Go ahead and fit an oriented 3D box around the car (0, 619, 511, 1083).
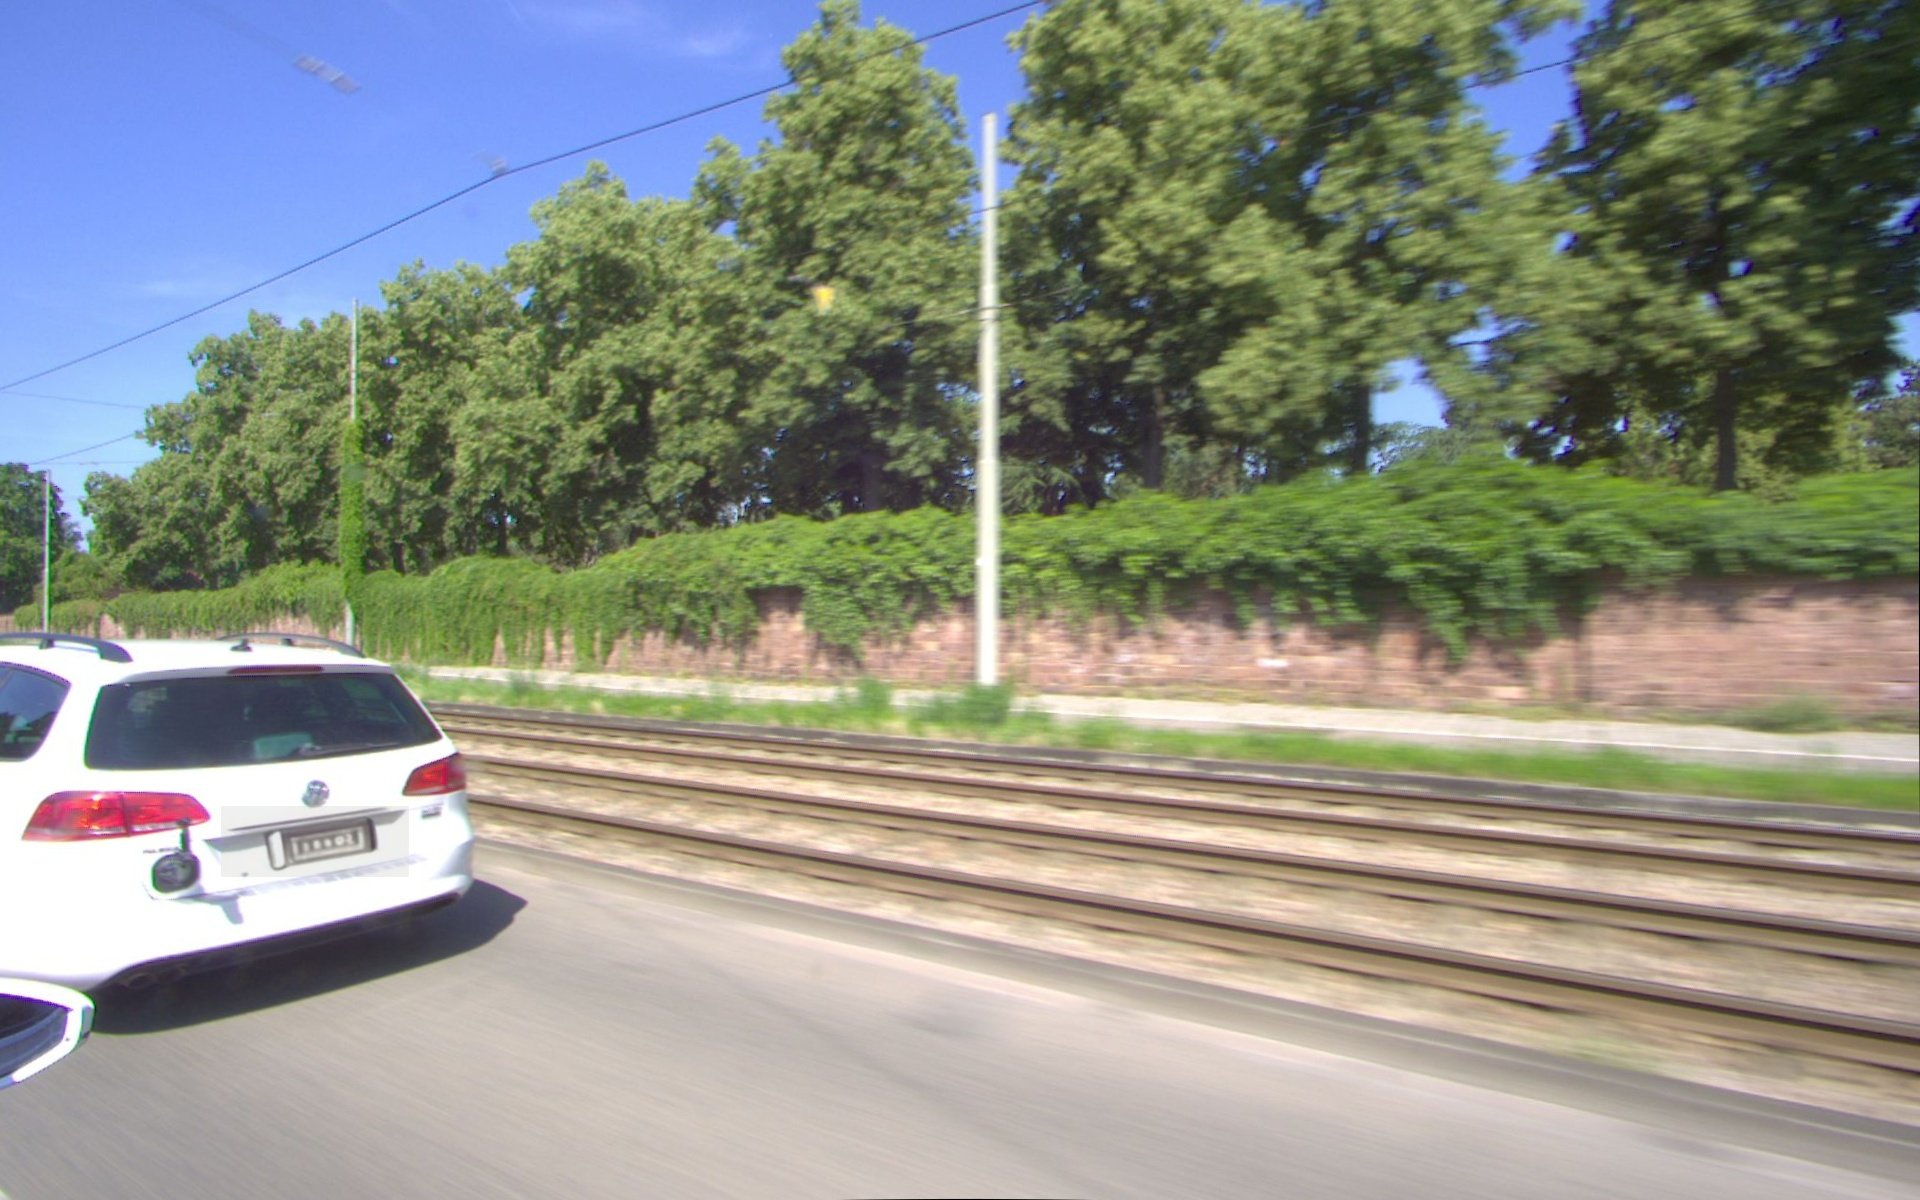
[{"bbox_3d":[-4.376,0.839,5.104,4.395,1.470,1.688,0,-1,33],"label":"car"}]
